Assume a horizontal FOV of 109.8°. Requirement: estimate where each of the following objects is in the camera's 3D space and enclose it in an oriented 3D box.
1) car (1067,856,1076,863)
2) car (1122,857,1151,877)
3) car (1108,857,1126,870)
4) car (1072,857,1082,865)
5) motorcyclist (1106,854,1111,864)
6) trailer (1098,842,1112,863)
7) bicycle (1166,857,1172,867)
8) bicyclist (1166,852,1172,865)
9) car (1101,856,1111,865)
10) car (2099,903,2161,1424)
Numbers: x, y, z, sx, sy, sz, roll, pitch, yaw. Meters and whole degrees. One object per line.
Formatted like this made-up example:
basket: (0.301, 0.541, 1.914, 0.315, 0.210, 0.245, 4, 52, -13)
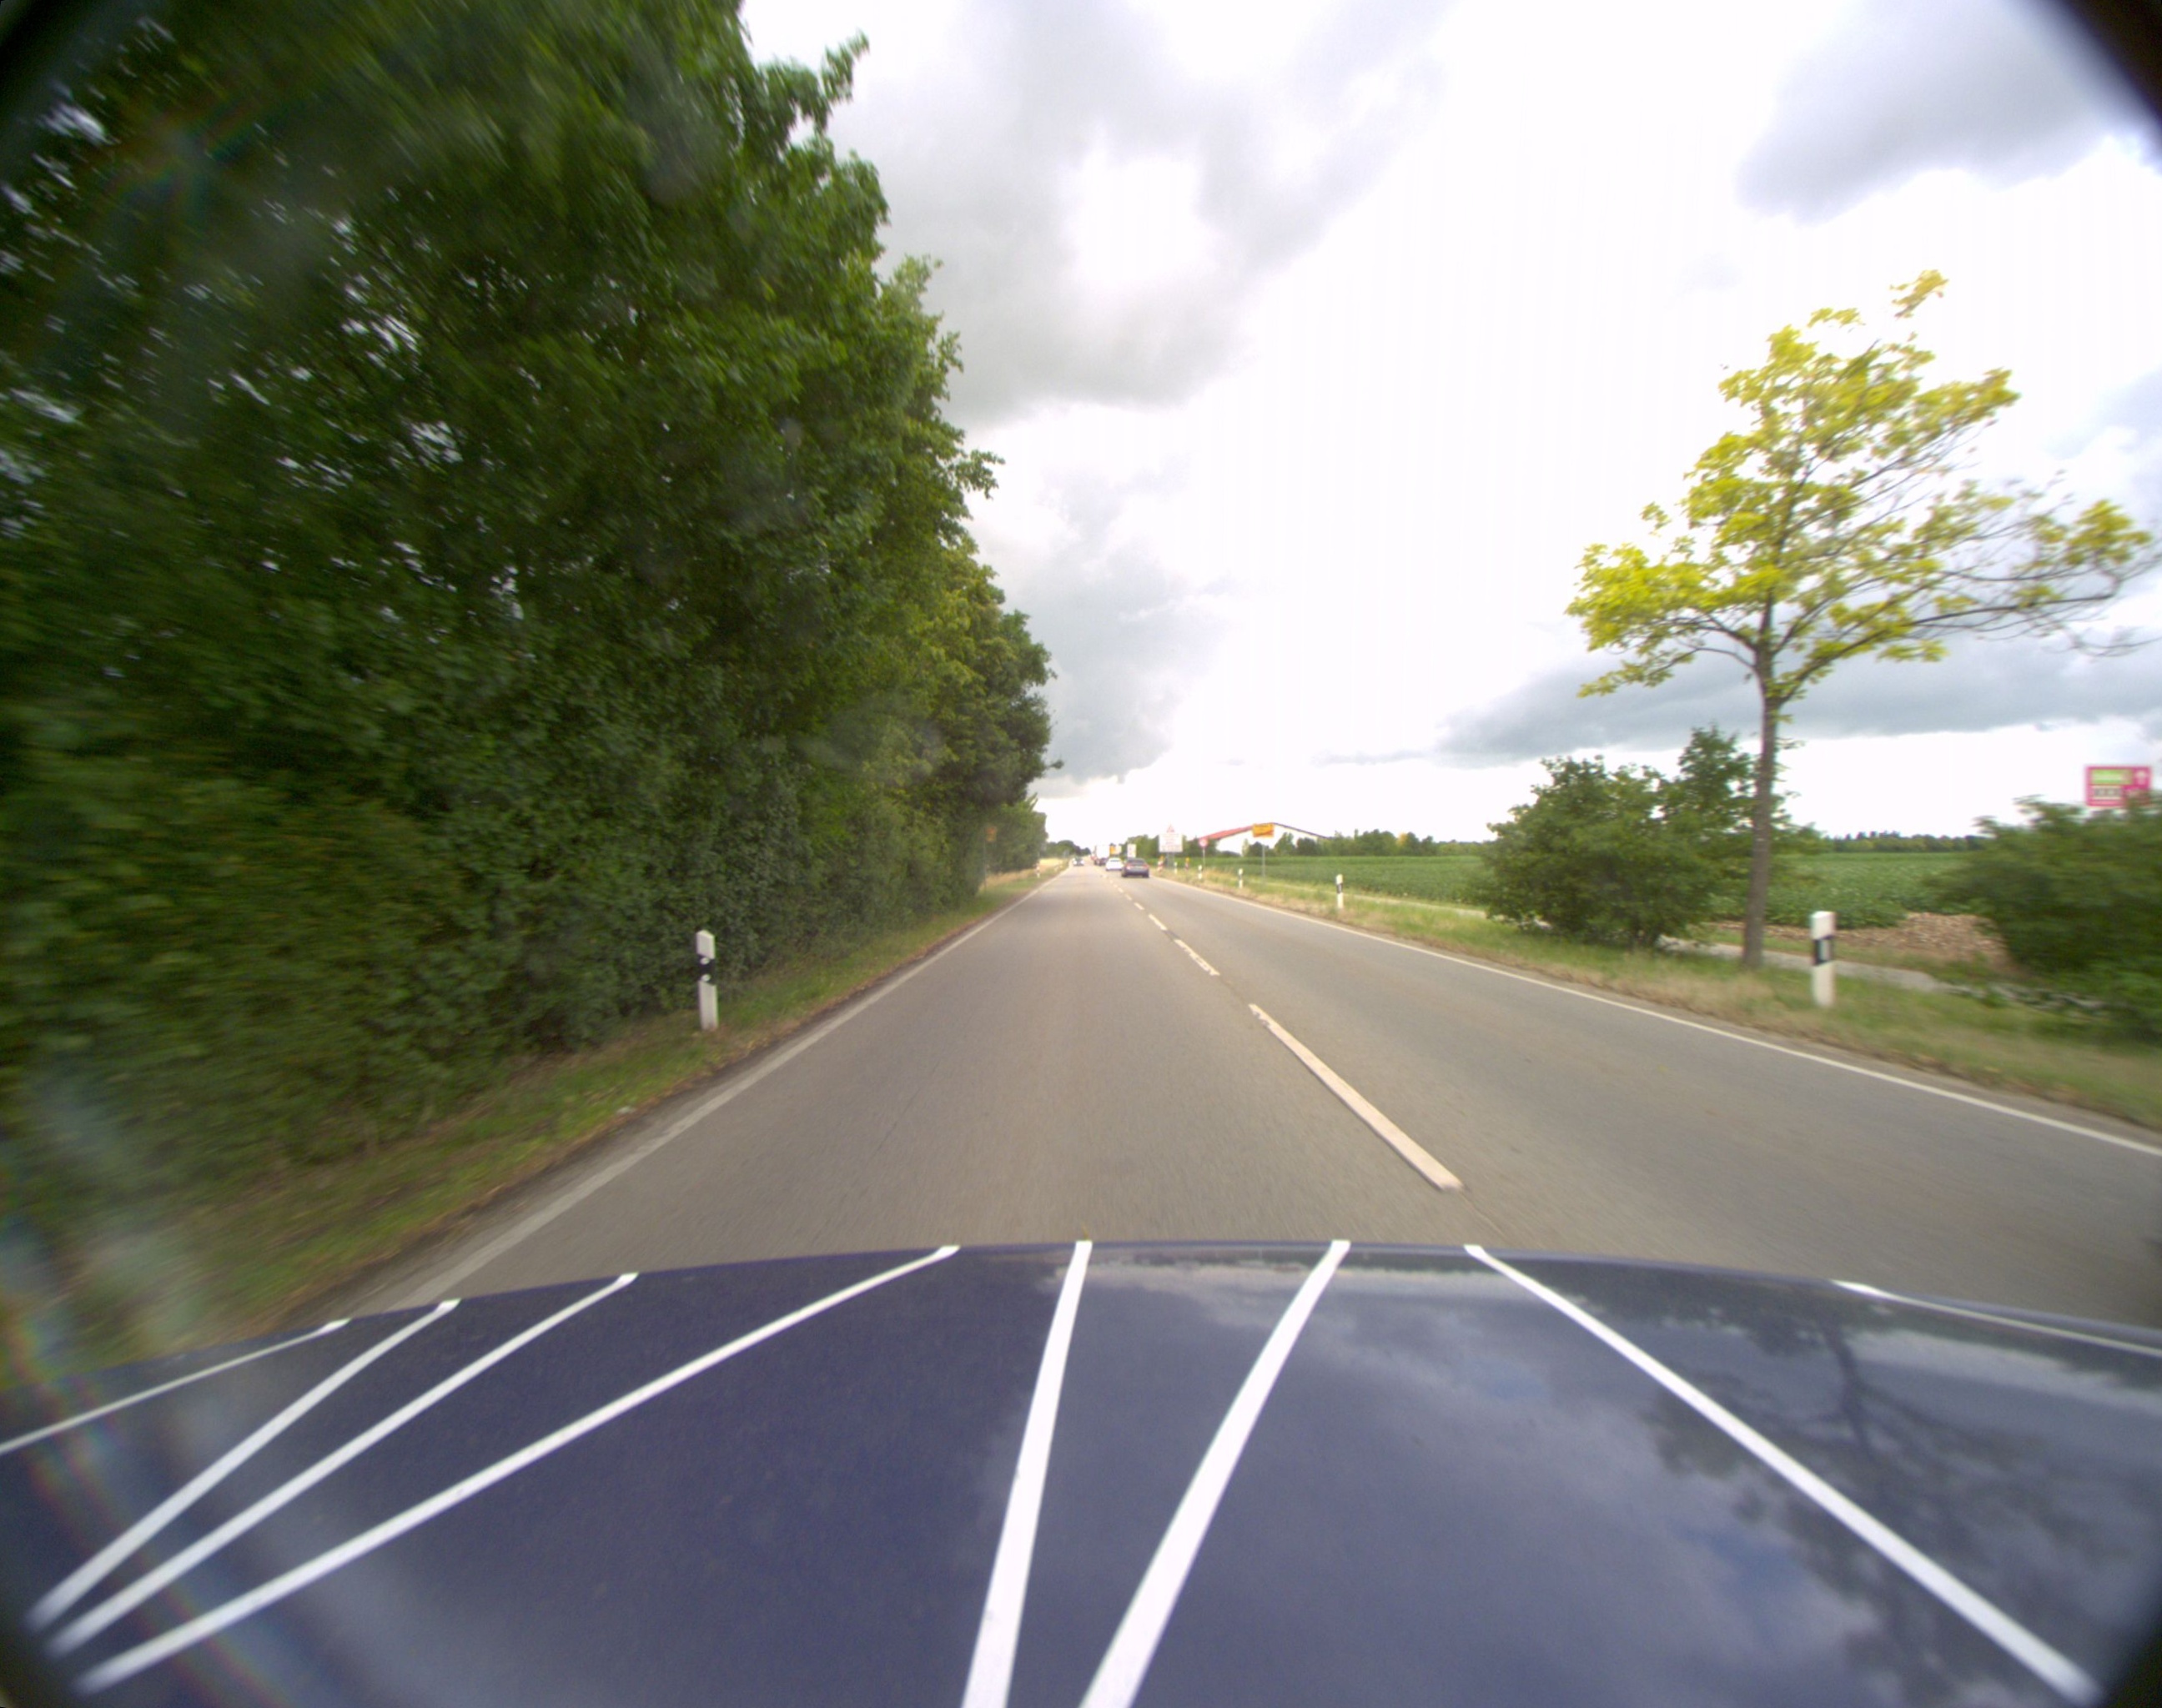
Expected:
car: (-1.980, 1.117, 156.848, 1.777, 1.407, 4.079, 1, 0, 0)
car: (4.151, 0.950, 57.118, 1.857, 1.456, 4.370, 0, 0, 0)
car: (4.042, 1.025, 85.114, 1.777, 1.365, 4.100, 1, 0, 0)
car: (-0.757, 1.274, 137.077, 1.869, 1.352, 3.826, 0, 0, -1)
motorcyclist: (4.363, 0.821, 120.691, 0.799, 1.564, 1.078, -1, 0, 0)
trailer: (4.800, -0.393, 154.508, 2.641, 4.096, 13.766, 0, 0, 0)
bicycle: (11.007, 1.012, 95.277, 0.530, 1.149, 1.794, 1, 0, 0)
bicyclist: (11.016, 0.525, 95.267, 0.530, 1.575, 1.223, 1, 0, 0)
car: (4.366, 1.115, 132.470, 1.733, 1.577, 4.504, 0, 0, 0)
car: (4.011, 0.902, 0.204, 1.820, 1.485, 4.204, 1, 0, 0)
